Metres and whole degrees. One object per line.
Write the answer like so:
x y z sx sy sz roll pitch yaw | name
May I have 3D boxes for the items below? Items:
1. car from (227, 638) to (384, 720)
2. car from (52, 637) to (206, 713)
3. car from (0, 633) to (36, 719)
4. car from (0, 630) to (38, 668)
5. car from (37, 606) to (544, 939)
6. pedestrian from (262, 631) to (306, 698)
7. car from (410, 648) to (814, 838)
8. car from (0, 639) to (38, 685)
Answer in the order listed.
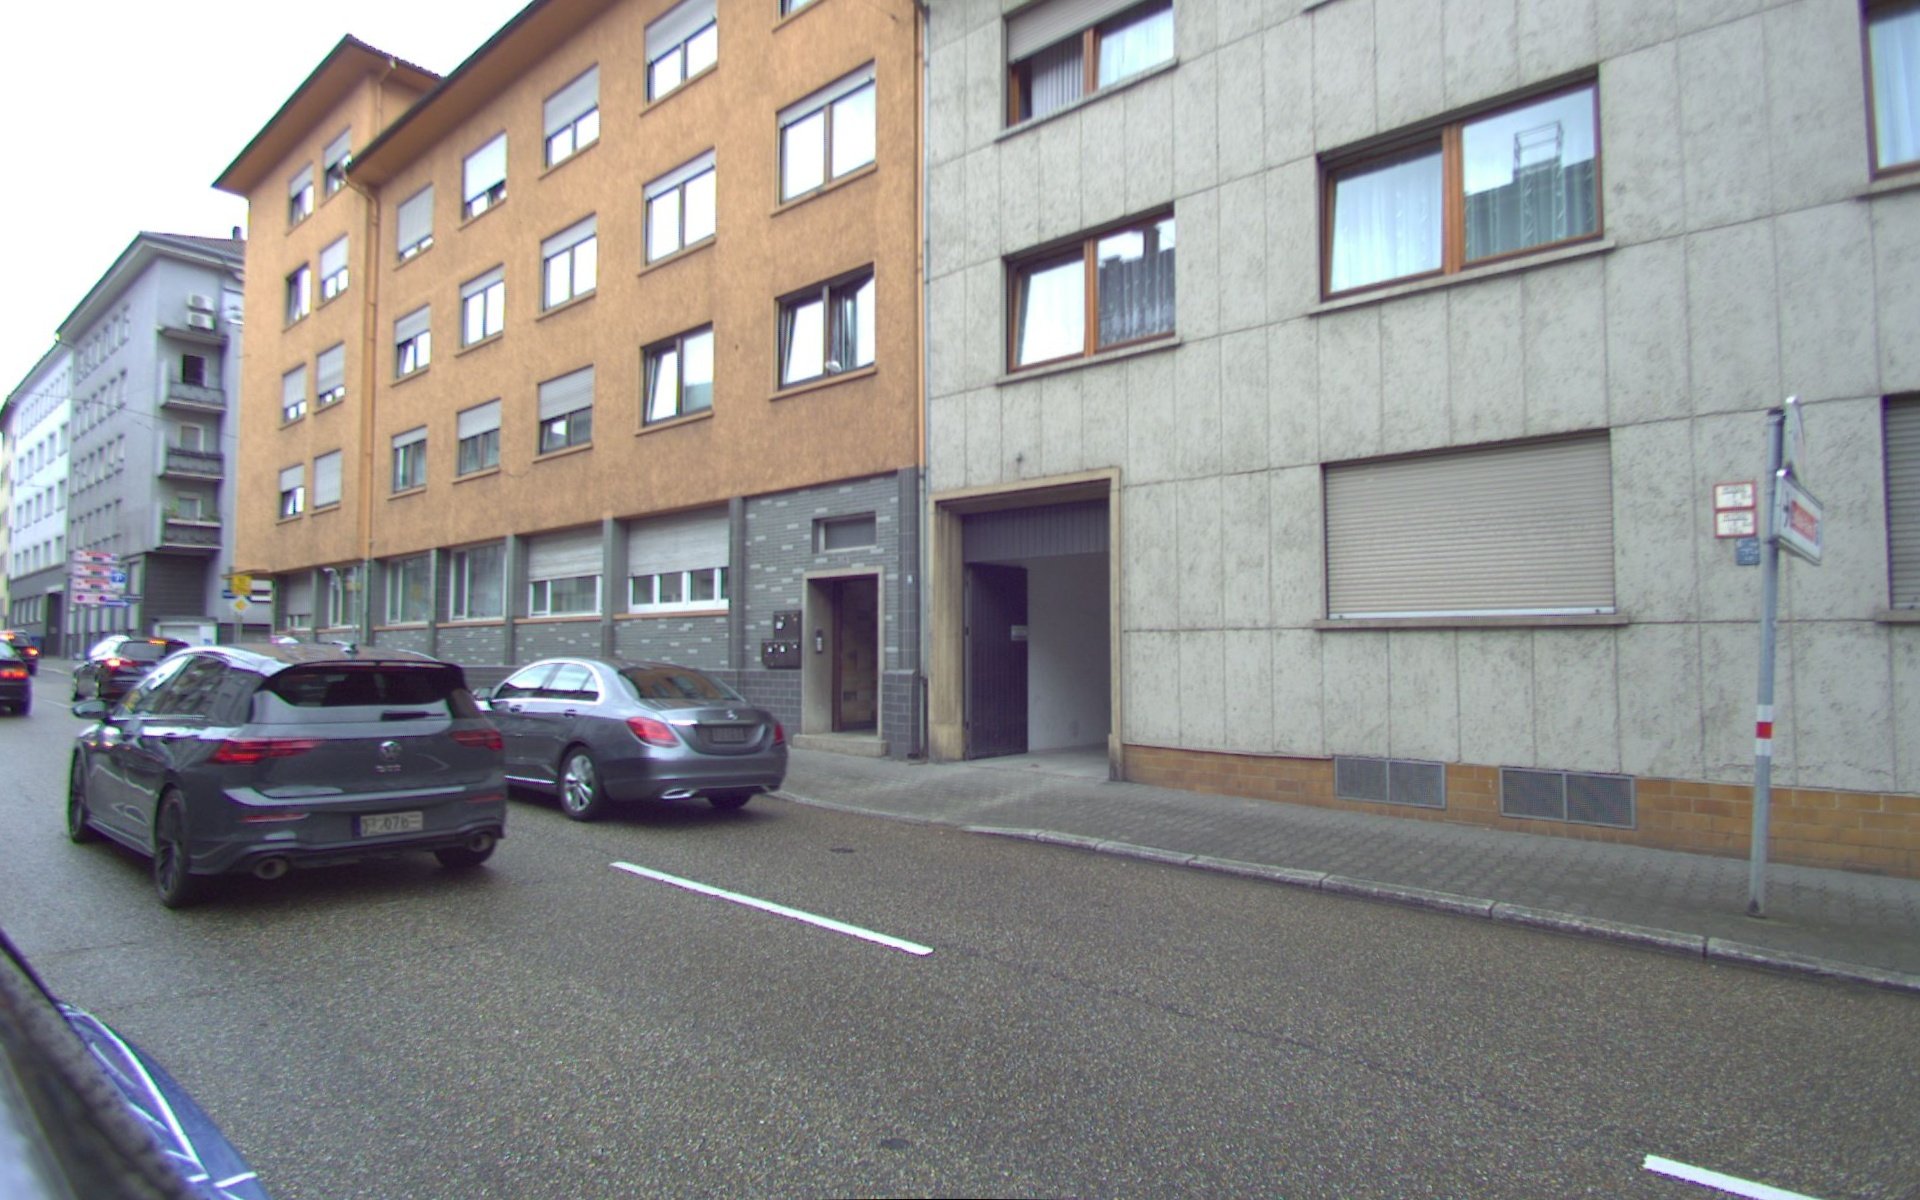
-14.249 1.630 21.949 4.216 1.485 1.776 -1 0 41 | car
-18.103 1.595 21.982 4.370 1.484 1.705 -2 -5 40 | car
-18.098 1.293 18.206 4.216 1.381 1.677 0 -4 42 | car
-46.474 2.355 49.287 4.216 1.735 1.832 -1 0 41 | car
-4.734 0.894 6.899 4.214 1.592 1.677 0 -4 40 | car
-17.500 1.660 26.197 0.757 1.652 1.024 -1 0 -44 | pedestrian
-3.566 1.243 9.958 4.362 1.381 1.678 -1 -5 40 | car
-35.331 2.209 37.038 4.433 1.551 1.677 -1 -6 40 | car
